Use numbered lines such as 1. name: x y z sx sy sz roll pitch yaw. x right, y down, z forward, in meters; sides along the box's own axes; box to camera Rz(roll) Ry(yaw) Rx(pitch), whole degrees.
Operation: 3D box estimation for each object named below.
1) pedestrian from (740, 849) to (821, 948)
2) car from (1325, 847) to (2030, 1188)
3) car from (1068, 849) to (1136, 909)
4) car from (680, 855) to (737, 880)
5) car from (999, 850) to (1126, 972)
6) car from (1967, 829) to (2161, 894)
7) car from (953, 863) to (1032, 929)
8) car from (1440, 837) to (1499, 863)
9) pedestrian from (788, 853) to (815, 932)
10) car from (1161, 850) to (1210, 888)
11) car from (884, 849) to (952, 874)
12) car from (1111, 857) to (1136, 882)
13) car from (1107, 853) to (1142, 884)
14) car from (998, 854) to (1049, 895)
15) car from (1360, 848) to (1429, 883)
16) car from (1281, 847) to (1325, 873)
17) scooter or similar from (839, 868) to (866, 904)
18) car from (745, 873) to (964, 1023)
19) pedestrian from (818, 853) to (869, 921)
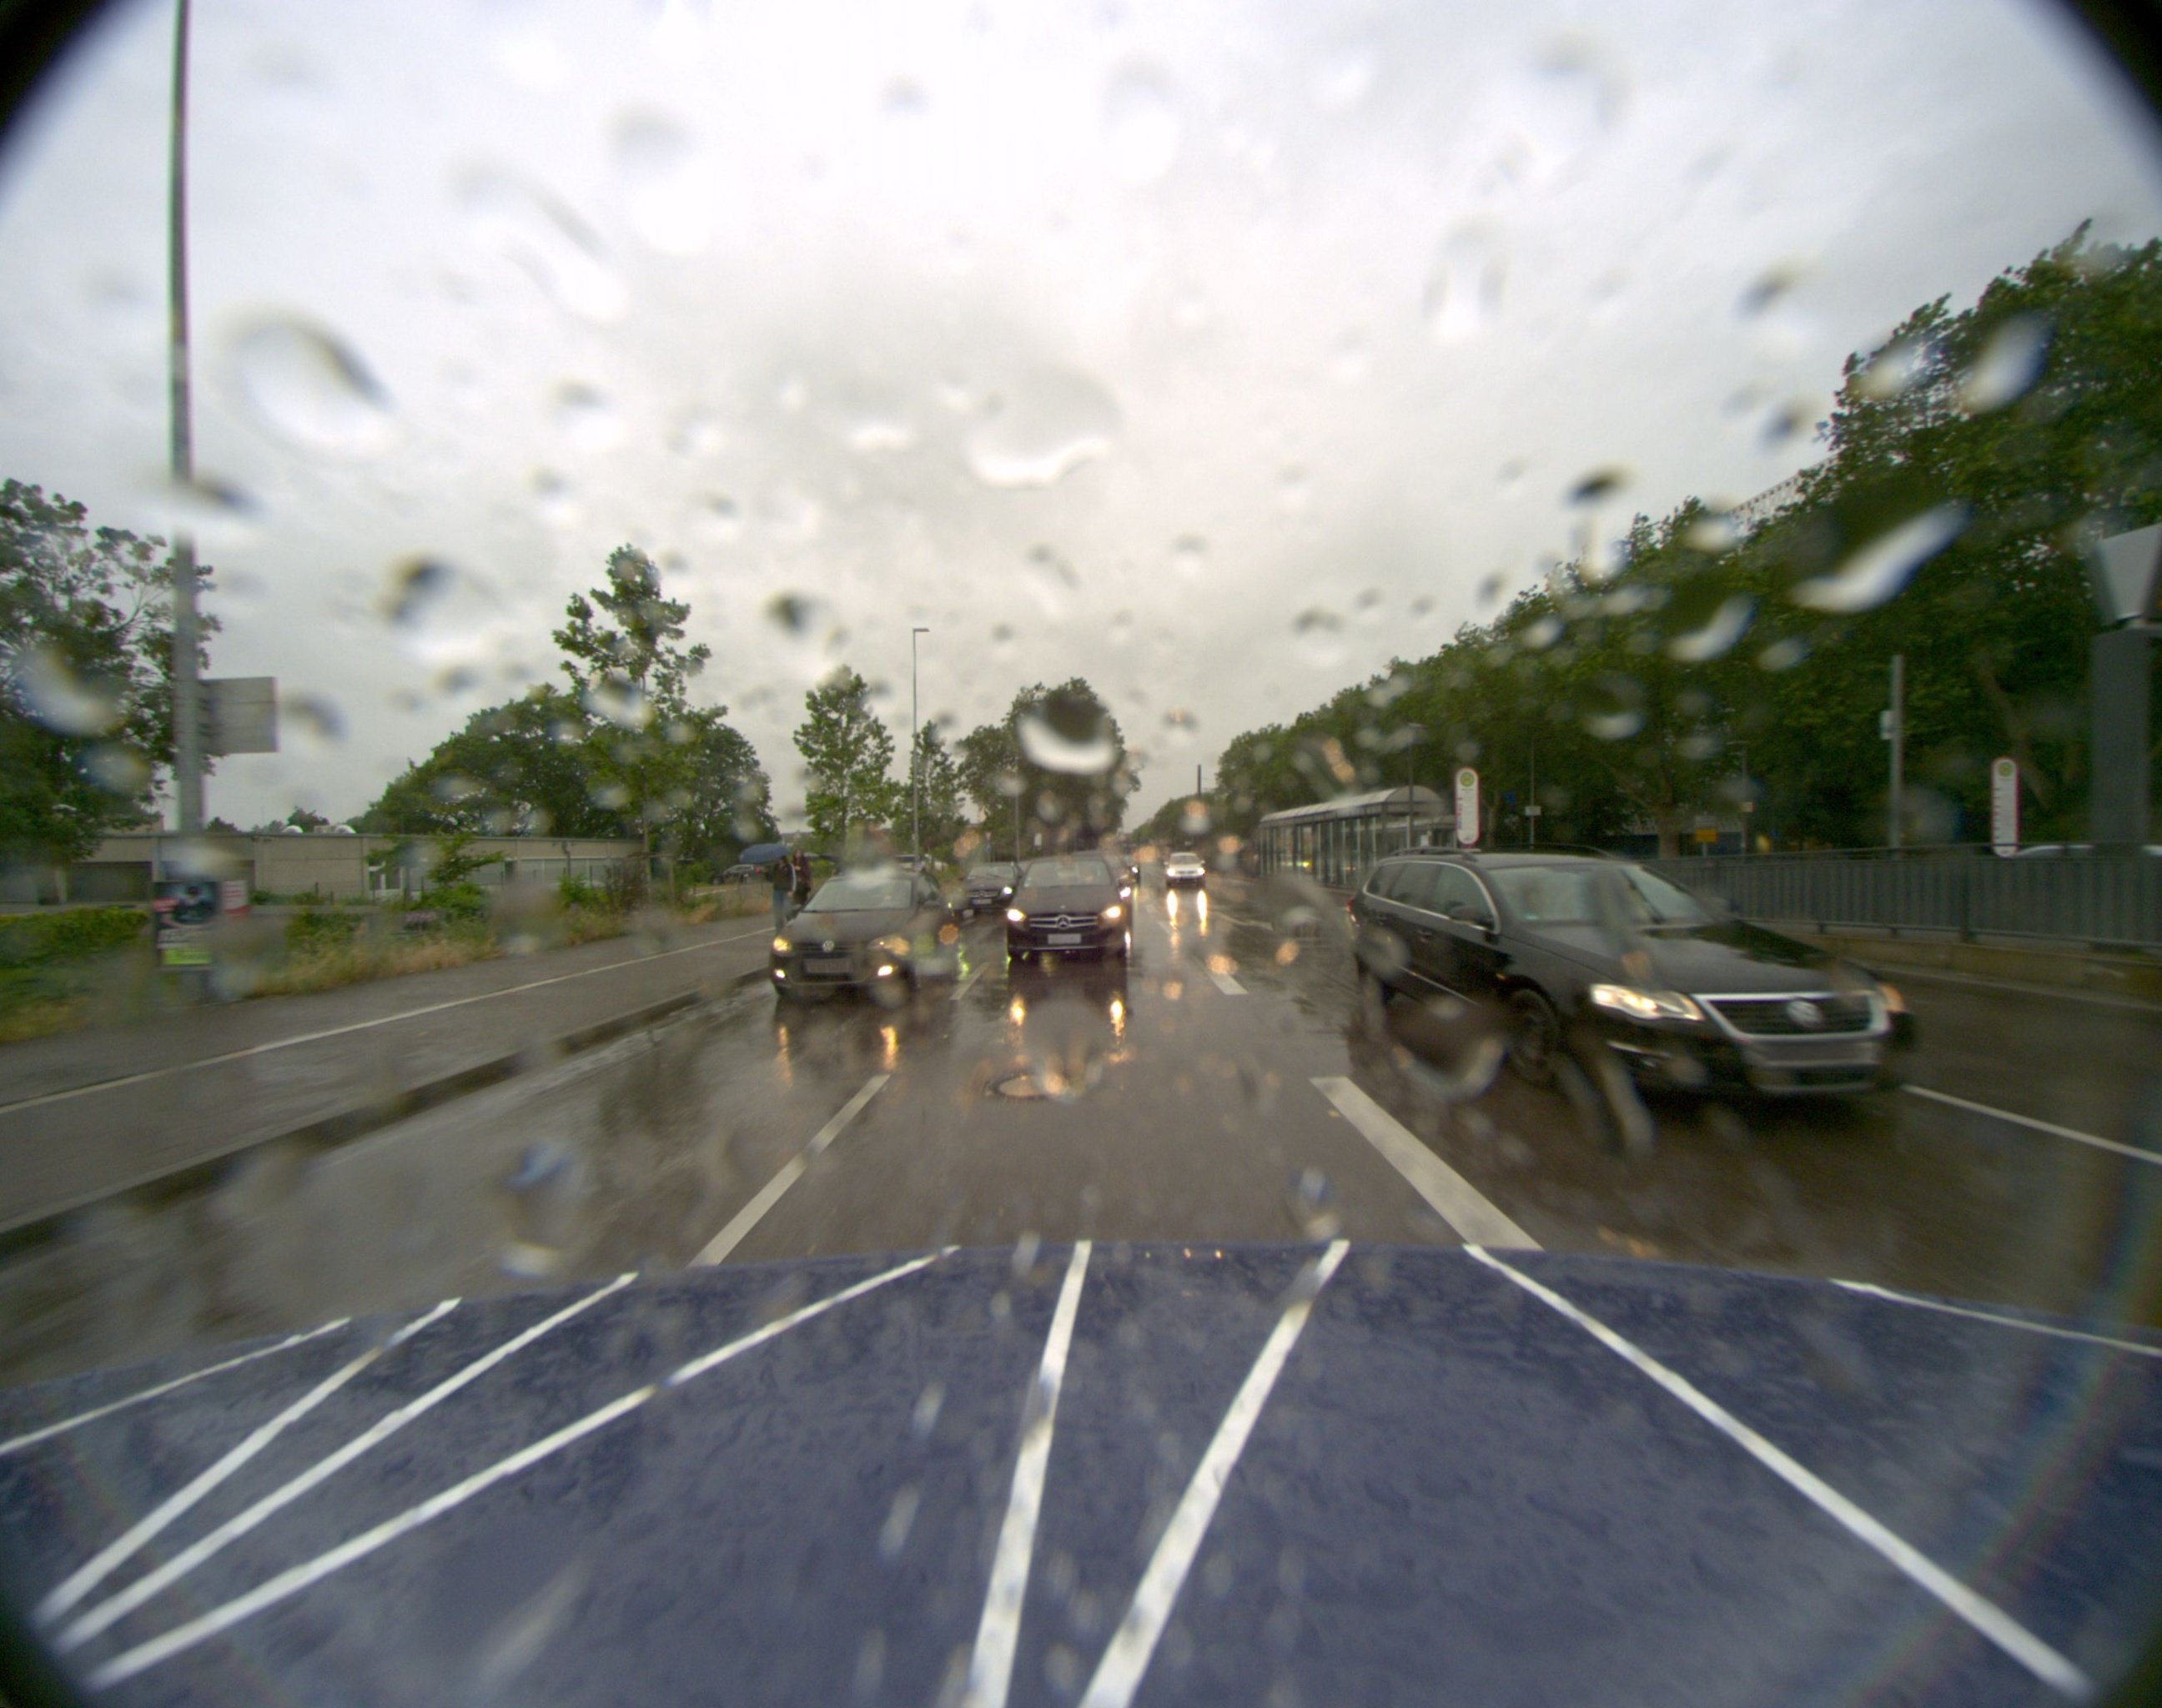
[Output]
1. pedestrian: -5.498 0.793 13.967 1.082 1.746 0.969 0 1 1
2. car: 3.515 0.744 5.821 1.776 1.492 4.596 -2 1 0
3. car: 0.540 0.622 20.644 1.633 1.420 3.624 -2 0 1
4. car: -32.843 1.174 67.097 3.996 2.002 2.000 -2 1 3
5. car: -0.187 0.781 12.532 1.689 1.578 4.163 -2 1 2
6. car: 23.574 0.117 17.625 1.591 1.328 3.830 -2 1 0
7. car: -2.473 1.145 22.121 1.698 1.565 3.813 -2 1 2
8. car: 24.210 -0.263 47.475 1.702 1.484 3.876 -2 1 1
9. pedestrian: -5.921 0.808 16.106 0.401 1.652 0.441 1 2 1
10. car: 4.907 0.686 36.189 1.794 1.597 3.999 -2 1 1
11. car: -12.504 0.549 58.443 4.759 1.640 1.999 -2 1 -1
12. car: 2.998 1.084 54.570 1.618 1.597 3.808 -2 1 2
13. car: 2.491 0.831 44.454 1.794 1.597 3.999 -2 1 1
14. car: -2.300 0.804 31.399 1.703 1.461 4.121 -2 1 1
15. car: 13.419 0.443 32.679 1.527 1.353 3.615 -2 1 2
16. car: 14.886 0.375 51.110 1.793 1.597 3.999 -2 1 1
17. scooter or similar: -7.791 1.060 25.949 0.381 1.123 1.777 0 1 -1
18. car: -2.662 1.039 9.798 1.633 1.420 3.624 -2 0 1
19. pedestrian: -6.141 0.833 19.659 1.025 1.699 0.892 1 1 1
